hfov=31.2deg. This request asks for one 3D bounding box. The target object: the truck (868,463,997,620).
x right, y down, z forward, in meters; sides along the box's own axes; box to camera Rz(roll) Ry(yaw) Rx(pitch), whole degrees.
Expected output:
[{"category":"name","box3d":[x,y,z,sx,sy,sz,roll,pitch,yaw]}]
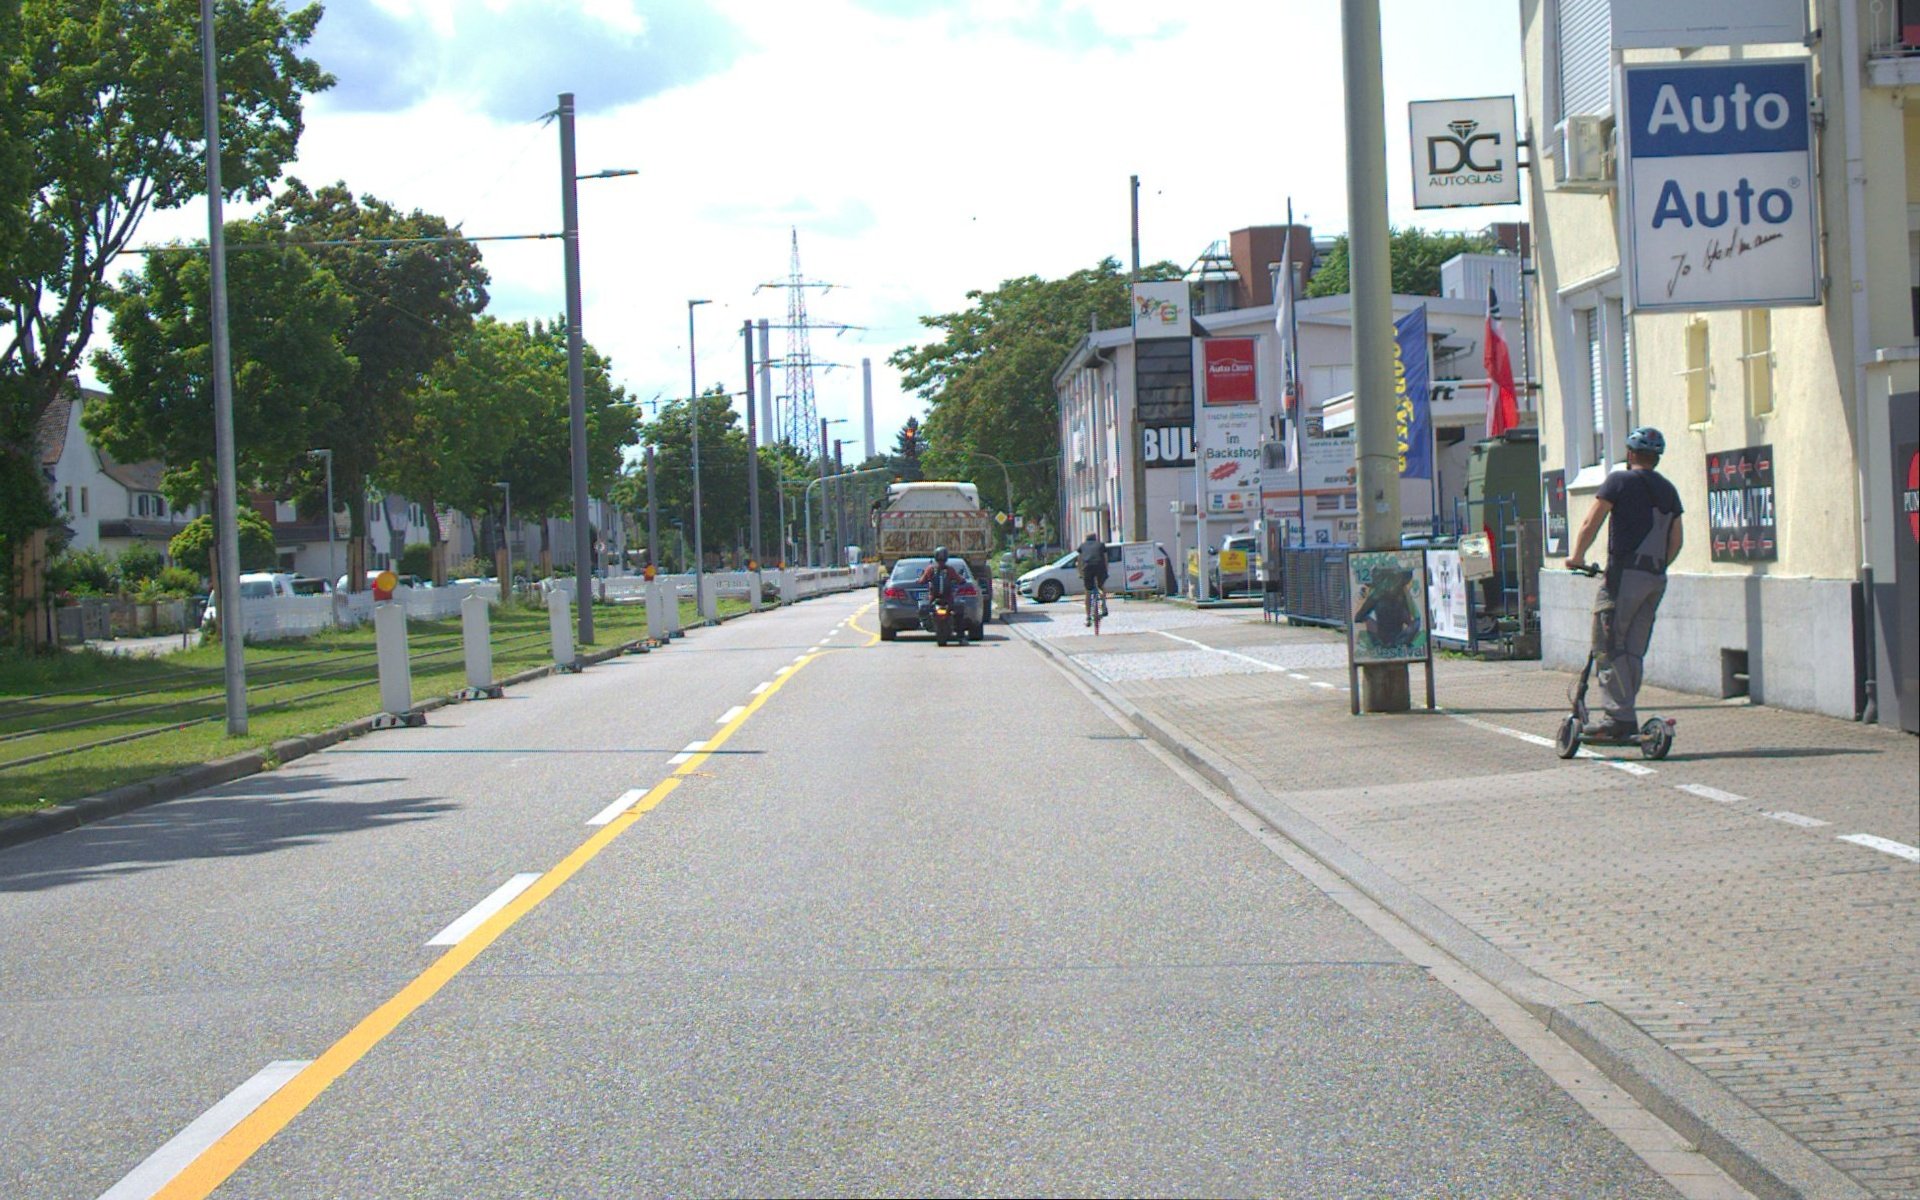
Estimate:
[{"category":"truck","box3d":[-0.559,-1.406,78.421,2.610,3.244,9.182,-3,2,0]}]

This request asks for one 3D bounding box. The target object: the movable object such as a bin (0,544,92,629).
[{"category":"movable object such as a bin","box3d":[-28.413,-0.369,103.050,4.335,2.441,1.789,-3,1,-22]}]

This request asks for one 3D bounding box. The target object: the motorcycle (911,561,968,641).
[{"category":"motorcycle","box3d":[-0.339,0.013,57.801,0.939,1.316,2.645,0,0,0]}]

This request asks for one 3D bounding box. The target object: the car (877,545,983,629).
[{"category":"car","box3d":[-0.540,-0.255,62.274,1.821,1.419,4.000,-1,1,0]}]

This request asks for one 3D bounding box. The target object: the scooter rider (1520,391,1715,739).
[{"category":"scooter rider","box3d":[3.876,-0.204,20.307,0.717,1.956,0.785,-6,1,-9]}]

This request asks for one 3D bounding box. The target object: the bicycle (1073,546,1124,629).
[{"category":"bicycle","box3d":[2.356,-0.223,58.563,0.693,1.357,2.418,-2,1,-1]}]

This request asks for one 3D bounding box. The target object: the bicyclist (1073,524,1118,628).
[{"category":"bicyclist","box3d":[2.302,-0.417,58.566,0.671,1.738,0.813,-2,1,-1]}]

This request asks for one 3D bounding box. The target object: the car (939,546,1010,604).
[{"category":"car","box3d":[0.389,-0.671,91.466,1.821,1.459,4.000,-1,1,0]}]

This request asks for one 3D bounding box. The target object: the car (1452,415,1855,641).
[{"category":"car","box3d":[8.579,-0.877,42.869,4.537,2.564,2.151,-2,0,2]}]

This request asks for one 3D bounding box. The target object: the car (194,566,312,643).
[{"category":"car","box3d":[-17.128,0.099,83.469,1.993,1.744,4.000,-3,0,0]}]

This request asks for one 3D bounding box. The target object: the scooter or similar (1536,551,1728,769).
[{"category":"scooter or similar","box3d":[3.912,0.341,20.128,0.540,1.191,1.611,-4,0,-8]}]

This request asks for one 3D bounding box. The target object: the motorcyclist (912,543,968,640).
[{"category":"motorcyclist","box3d":[-0.335,-0.138,57.619,0.939,1.609,1.205,0,0,0]}]

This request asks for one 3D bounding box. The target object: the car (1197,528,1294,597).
[{"category":"car","box3d":[7.365,-0.951,89.039,1.959,1.643,4.000,-3,0,-2]}]

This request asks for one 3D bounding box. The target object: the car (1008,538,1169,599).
[{"category":"car","box3d":[3.714,-0.907,99.722,4.329,1.546,1.950,-3,0,-8]}]

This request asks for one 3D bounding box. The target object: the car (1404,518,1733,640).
[{"category":"car","box3d":[8.062,-0.279,45.862,4.184,1.426,1.820,-2,0,7]}]
